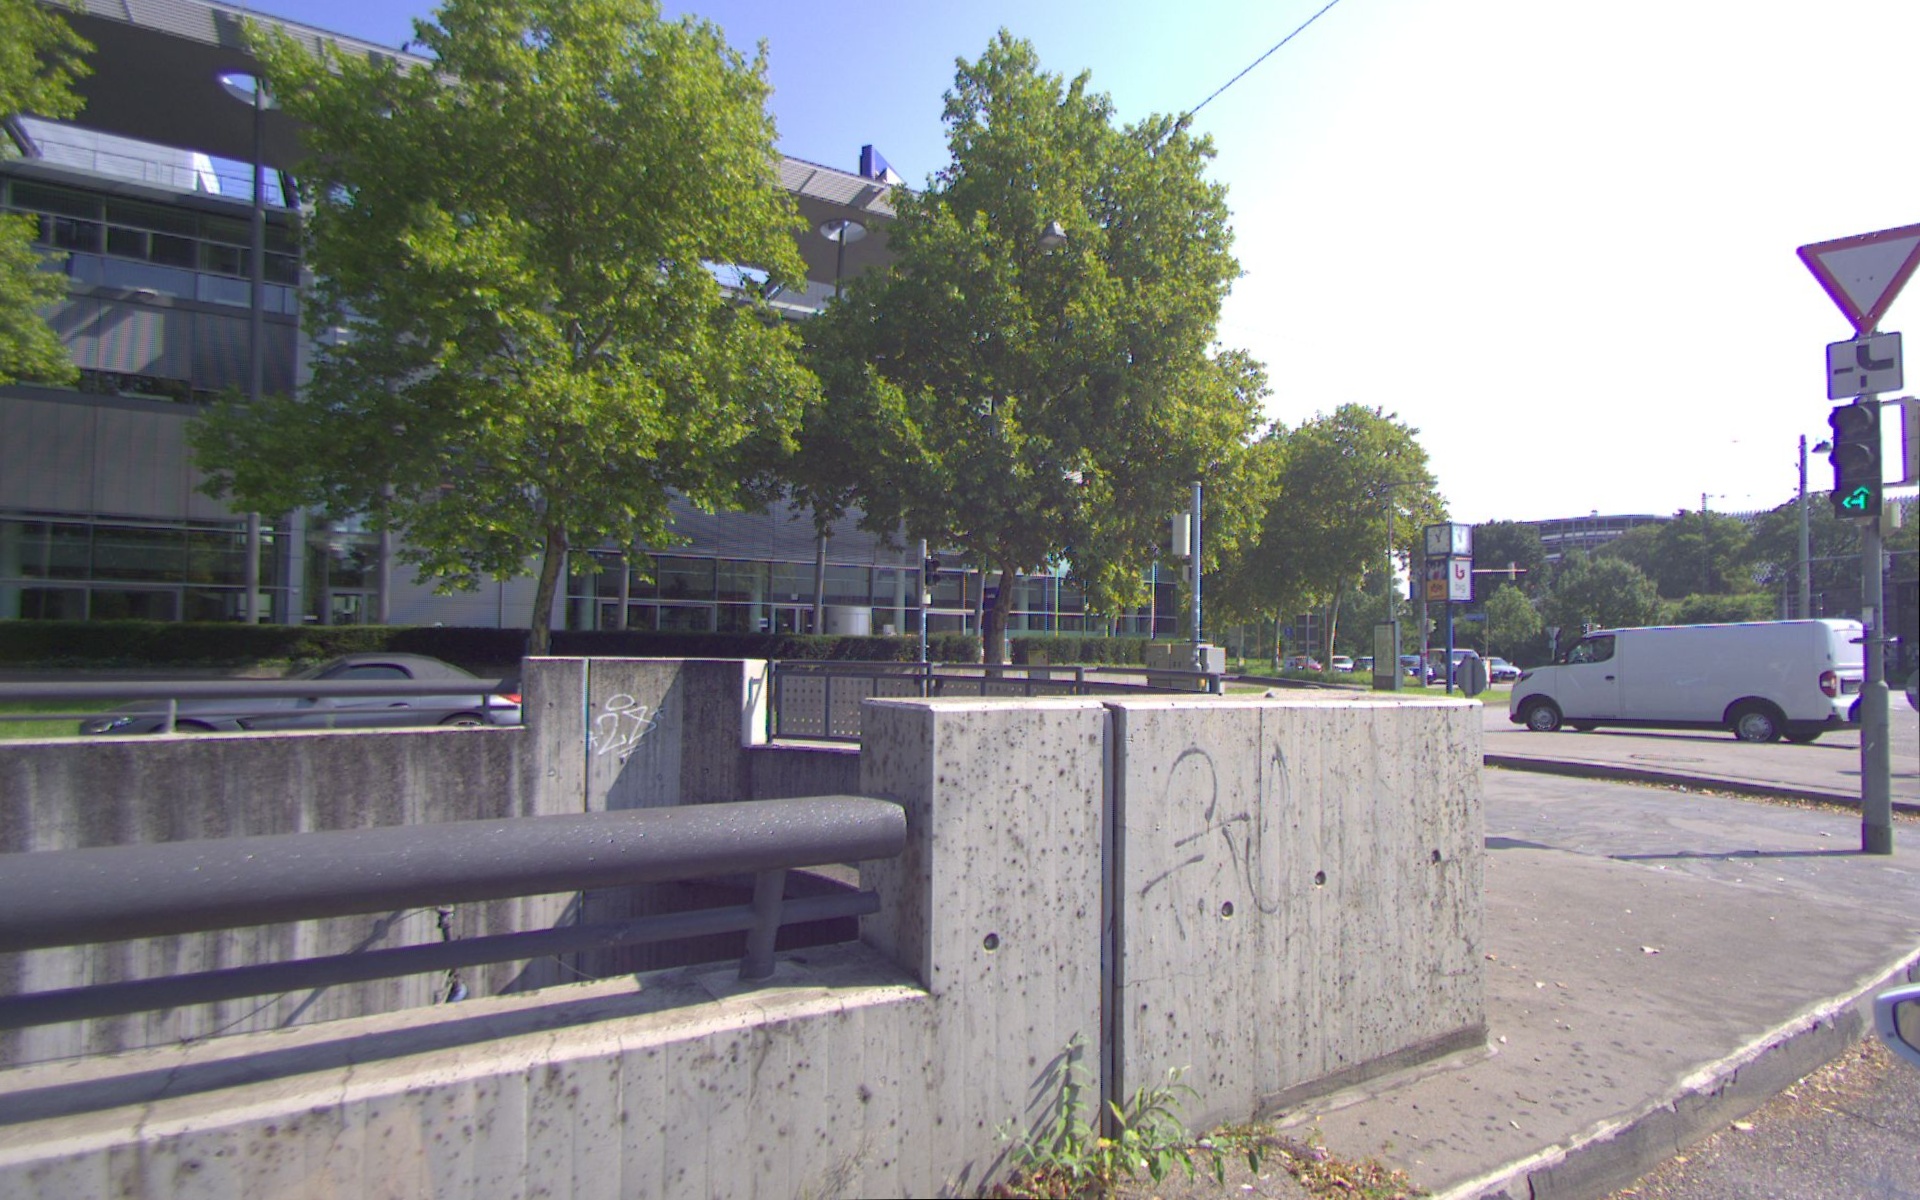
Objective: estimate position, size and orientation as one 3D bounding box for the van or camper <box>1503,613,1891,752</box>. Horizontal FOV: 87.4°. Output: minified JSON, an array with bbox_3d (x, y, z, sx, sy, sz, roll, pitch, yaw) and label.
[{"bbox_3d":[12.107,1.322,16.945,1.825,1.972,4.910,0,-3,-30],"label":"van or camper"}]

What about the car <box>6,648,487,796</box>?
[{"bbox_3d":[-7.237,1.183,10.641,3.852,1.237,1.647,2,-1,-33],"label":"car"}]

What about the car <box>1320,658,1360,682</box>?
[{"bbox_3d":[25.851,4.765,68.517,1.639,1.555,3.734,-2,-4,7],"label":"car"}]

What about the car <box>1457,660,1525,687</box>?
[{"bbox_3d":[30.806,4.262,58.417,1.804,1.461,4.610,-2,-3,5],"label":"car"}]

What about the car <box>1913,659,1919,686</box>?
[{"bbox_3d":[54.405,4.028,54.226,3.919,1.447,1.787,2,-1,14],"label":"car"}]
